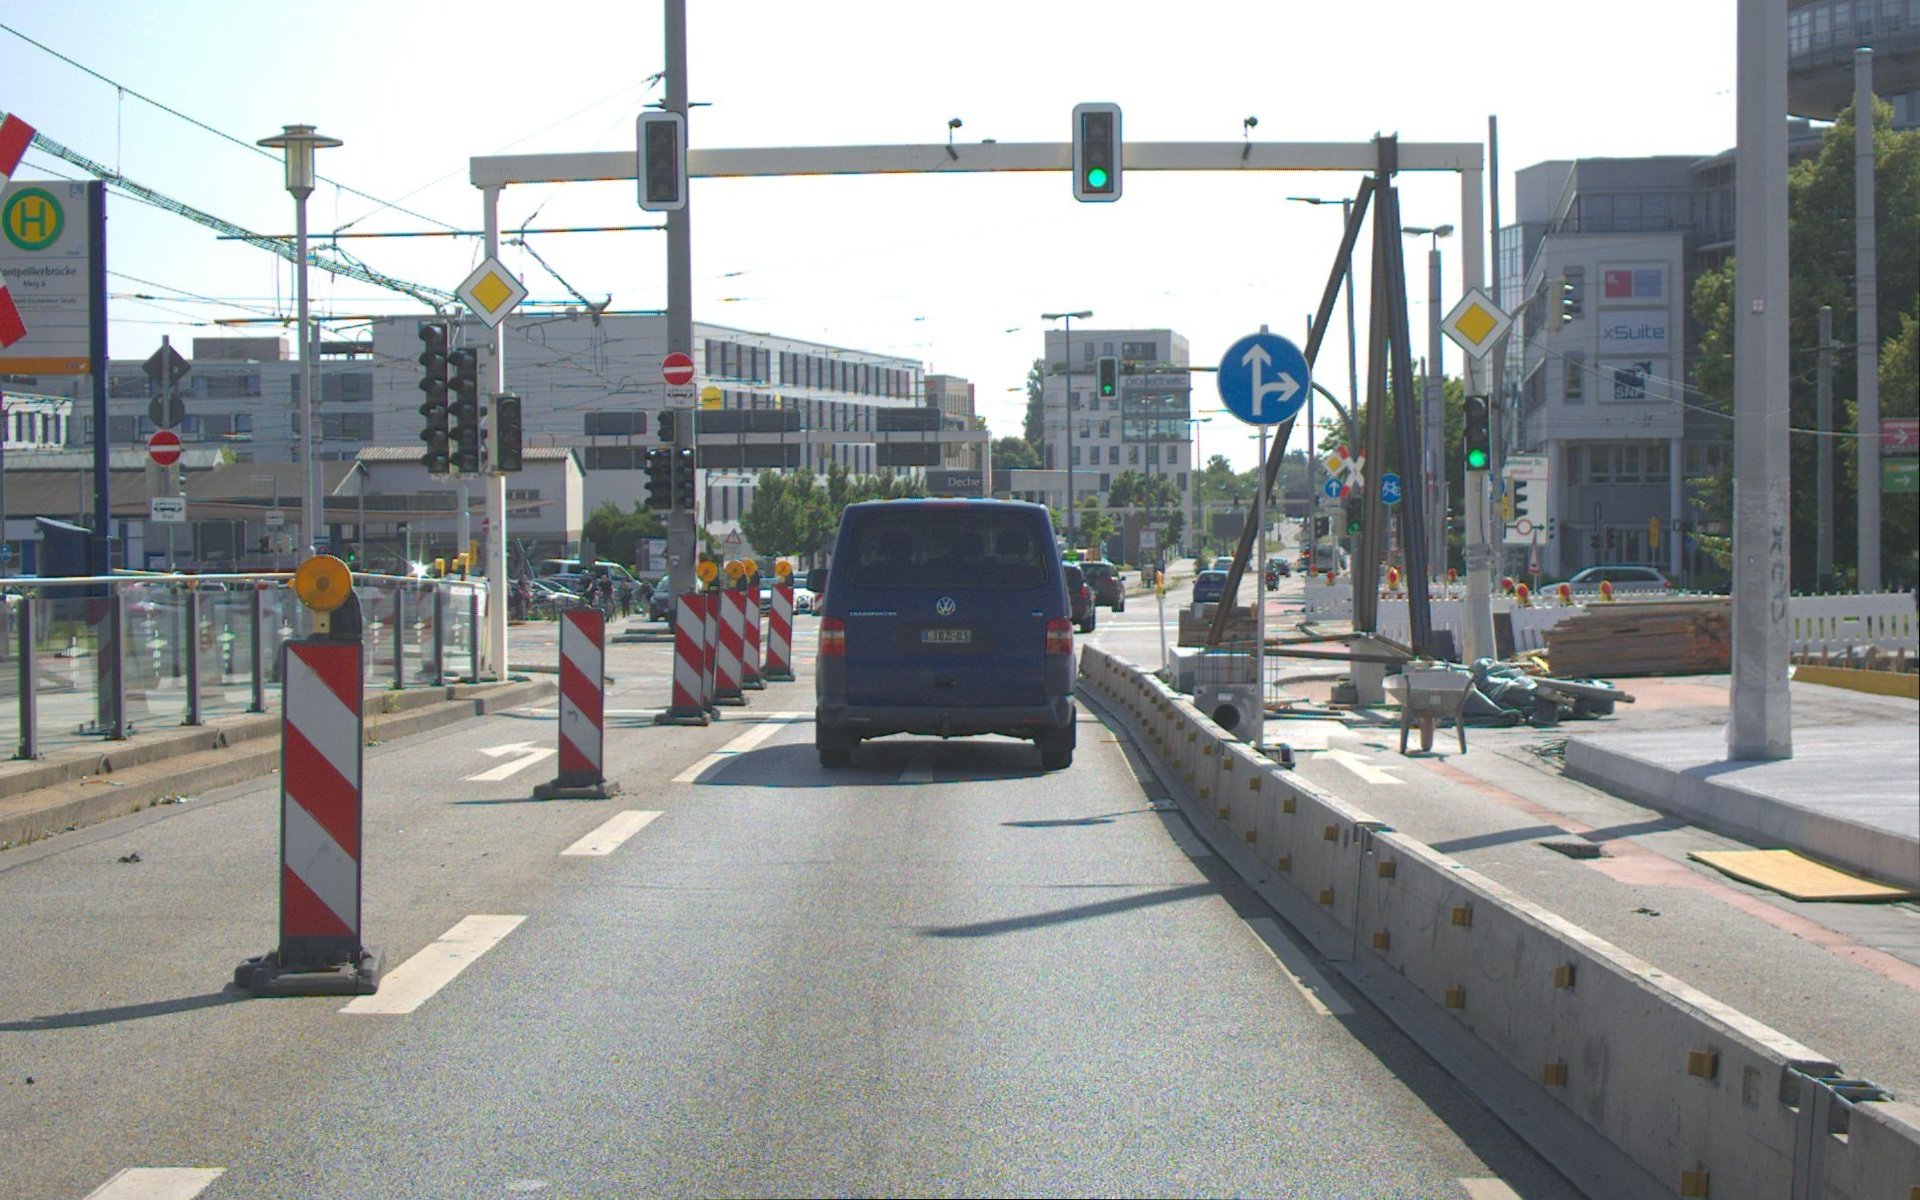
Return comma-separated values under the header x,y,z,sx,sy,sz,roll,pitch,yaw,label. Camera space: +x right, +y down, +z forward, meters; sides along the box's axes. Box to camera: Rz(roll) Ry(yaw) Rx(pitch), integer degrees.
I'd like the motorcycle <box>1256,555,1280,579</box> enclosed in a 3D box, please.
x,y,z,sx,sy,sz,roll,pitch,yaw,label
16.698,-1.799,186.339,1.162,1.238,3.007,0,1,8,motorcycle

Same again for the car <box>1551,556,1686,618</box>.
x,y,z,sx,sy,sz,roll,pitch,yaw,label
20.422,-0.407,106.674,3.813,1.791,1.681,1,2,0,car

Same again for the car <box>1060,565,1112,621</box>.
x,y,z,sx,sy,sz,roll,pitch,yaw,label
4.177,-0.244,113.731,1.645,1.722,3.717,1,1,2,car

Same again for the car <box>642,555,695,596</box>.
x,y,z,sx,sy,sz,roll,pitch,yaw,label
-10.858,-0.934,128.251,1.747,1.481,4.000,-1,1,-2,car

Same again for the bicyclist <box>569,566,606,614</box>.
x,y,z,sx,sy,sz,roll,pitch,yaw,label
-12.872,-0.339,118.870,0.876,1.573,0.969,4,1,15,bicyclist

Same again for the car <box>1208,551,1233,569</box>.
x,y,z,sx,sy,sz,roll,pitch,yaw,label
19.276,-2.983,254.728,1.547,1.335,3.016,1,1,-1,car

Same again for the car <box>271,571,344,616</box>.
x,y,z,sx,sy,sz,roll,pitch,yaw,label
-23.035,-0.238,121.410,1.777,1.532,4.000,0,1,1,car

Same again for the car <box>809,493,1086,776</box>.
x,y,z,sx,sy,sz,roll,pitch,yaw,label
-0.094,0.180,25.986,1.888,1.927,4.000,1,2,0,car

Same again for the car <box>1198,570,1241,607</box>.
x,y,z,sx,sy,sz,roll,pitch,yaw,label
10.661,-0.496,141.152,1.744,1.470,3.884,0,1,5,car

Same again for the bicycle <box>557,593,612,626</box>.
x,y,z,sx,sy,sz,roll,pitch,yaw,label
-12.961,0.320,118.707,0.882,1.066,2.805,4,1,15,bicycle

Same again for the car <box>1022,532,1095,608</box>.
x,y,z,sx,sy,sz,roll,pitch,yaw,label
2.364,-0.736,81.728,1.645,1.722,4.000,1,1,2,car

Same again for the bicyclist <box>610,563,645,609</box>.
x,y,z,sx,sy,sz,roll,pitch,yaw,label
-11.822,-0.479,122.261,0.876,1.573,0.969,4,1,15,bicyclist
